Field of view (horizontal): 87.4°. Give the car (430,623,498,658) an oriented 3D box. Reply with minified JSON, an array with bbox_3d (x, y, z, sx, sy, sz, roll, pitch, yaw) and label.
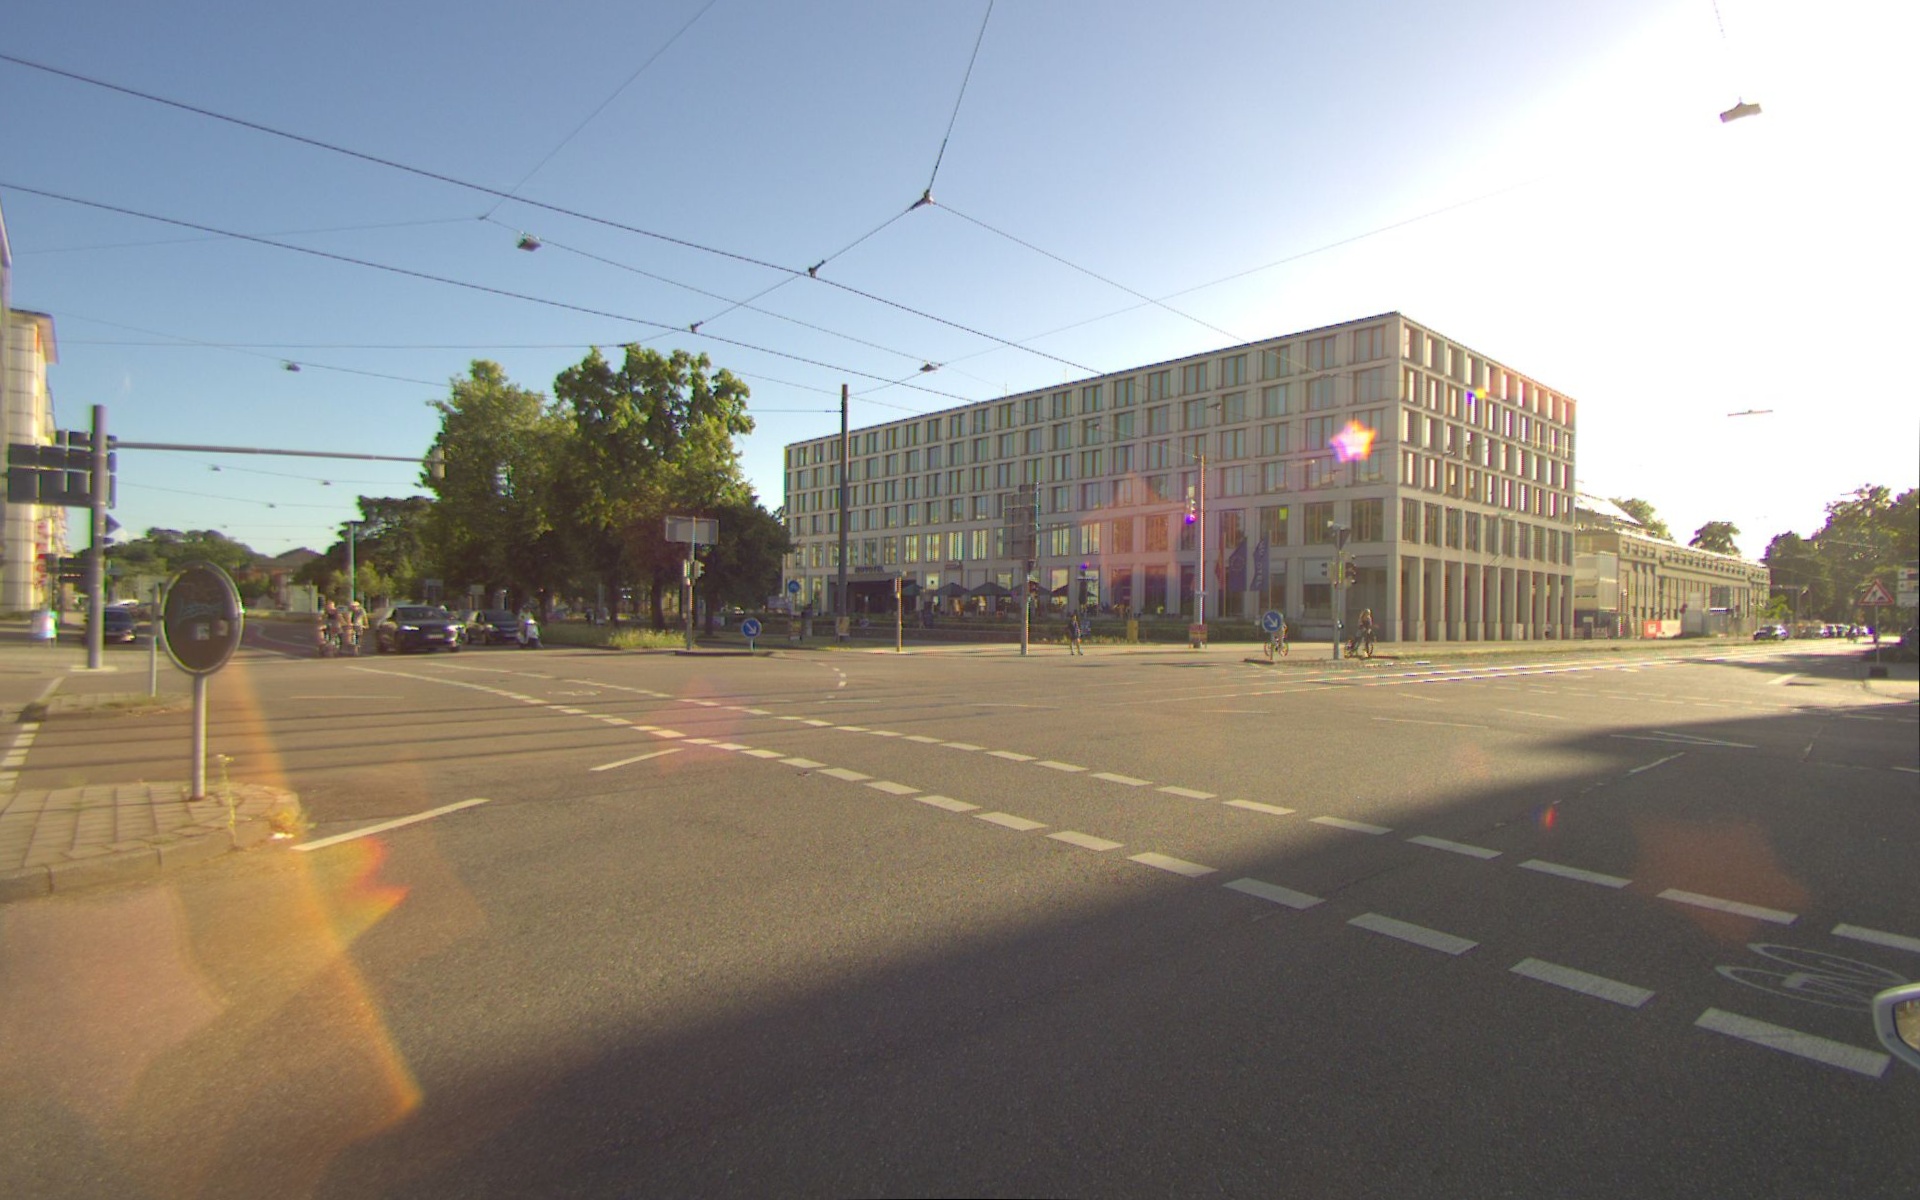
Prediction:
[{"bbox_3d":[-24.765,1.973,50.079,1.984,1.594,4.495,1,-1,-41],"label":"car"}]

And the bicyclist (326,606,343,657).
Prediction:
[{"bbox_3d":[-20.071,1.008,32.229,0.356,1.597,0.529,1,-1,-41],"label":"bicyclist"}]

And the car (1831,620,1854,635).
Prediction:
[{"bbox_3d":[117.458,3.637,133.679,3.973,1.907,1.974,2,-1,-44],"label":"car"}]

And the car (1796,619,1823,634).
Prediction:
[{"bbox_3d":[96.097,2.973,113.614,3.973,1.661,1.974,2,-1,-44],"label":"car"}]

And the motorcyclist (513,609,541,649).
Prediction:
[{"bbox_3d":[-16.362,1.090,37.972,0.722,1.465,0.607,0,-1,22],"label":"motorcyclist"}]

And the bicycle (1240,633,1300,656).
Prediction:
[{"bbox_3d":[12.181,1.752,39.464,2.303,0.862,0.838,1,-1,-24],"label":"bicycle"}]

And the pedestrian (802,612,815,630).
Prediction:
[{"bbox_3d":[-13.489,1.860,89.447,0.779,1.546,0.753,1,-1,-41],"label":"pedestrian"}]

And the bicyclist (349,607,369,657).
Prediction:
[{"bbox_3d":[-19.642,1.046,32.808,0.450,1.597,0.529,1,-1,-41],"label":"bicyclist"}]

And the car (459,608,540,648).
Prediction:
[{"bbox_3d":[-19.657,1.169,42.821,1.984,1.594,4.495,1,-1,-41],"label":"car"}]

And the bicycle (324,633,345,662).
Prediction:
[{"bbox_3d":[-20.079,1.503,32.224,0.349,0.885,1.368,1,-1,-41],"label":"bicycle"}]

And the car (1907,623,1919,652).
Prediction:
[{"bbox_3d":[49.340,1.901,51.021,3.973,1.447,1.681,2,-1,-44],"label":"car"}]

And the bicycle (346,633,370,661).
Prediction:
[{"bbox_3d":[-19.691,1.523,32.849,0.449,0.885,1.368,1,-1,-41],"label":"bicycle"}]

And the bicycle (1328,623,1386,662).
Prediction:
[{"bbox_3d":[13.209,1.414,33.497,0.831,1.247,2.010,1,-1,-12],"label":"bicycle"}]

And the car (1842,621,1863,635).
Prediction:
[{"bbox_3d":[126.401,4.018,142.225,3.973,1.907,1.974,2,-1,-44],"label":"car"}]

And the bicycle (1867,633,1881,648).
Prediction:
[{"bbox_3d":[72.863,3.196,80.034,1.795,1.171,0.655,2,-1,-42],"label":"bicycle"}]

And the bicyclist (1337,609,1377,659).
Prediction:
[{"bbox_3d":[13.218,1.121,33.459,0.837,1.640,0.971,1,-1,-12],"label":"bicyclist"}]

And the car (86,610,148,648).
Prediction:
[{"bbox_3d":[-37.338,1.272,44.495,1.984,1.594,4.495,1,-1,-41],"label":"car"}]

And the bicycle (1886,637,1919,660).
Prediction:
[{"bbox_3d":[38.004,1.928,40.048,1.582,0.901,0.766,0,-1,41],"label":"bicycle"}]

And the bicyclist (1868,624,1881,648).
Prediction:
[{"bbox_3d":[72.945,2.890,80.111,0.777,1.877,0.658,1,-1,-42],"label":"bicyclist"}]

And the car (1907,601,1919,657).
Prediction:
[{"bbox_3d":[54.007,1.598,55.248,5.055,2.991,2.566,2,-1,-44],"label":"car"}]

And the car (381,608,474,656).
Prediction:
[{"bbox_3d":[-18.812,1.084,35.376,1.984,1.594,4.495,0,-1,-41],"label":"car"}]

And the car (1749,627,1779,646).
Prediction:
[{"bbox_3d":[83.704,3.780,104.613,3.973,1.996,1.974,2,-1,-44],"label":"car"}]

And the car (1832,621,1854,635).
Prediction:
[{"bbox_3d":[121.043,3.795,137.648,3.973,1.907,1.974,2,-1,-44],"label":"car"}]

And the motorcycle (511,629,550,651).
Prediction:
[{"bbox_3d":[-16.226,1.511,37.926,1.283,0.806,0.624,0,-1,22],"label":"motorcycle"}]

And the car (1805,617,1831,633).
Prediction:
[{"bbox_3d":[102.576,3.015,120.078,3.973,1.907,1.974,2,-1,-44],"label":"car"}]

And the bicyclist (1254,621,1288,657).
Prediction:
[{"bbox_3d":[12.216,1.513,39.481,0.959,1.380,0.822,1,-1,-24],"label":"bicyclist"}]

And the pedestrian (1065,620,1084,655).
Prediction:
[{"bbox_3d":[5.022,1.647,44.091,0.595,1.546,0.620,0,-1,44],"label":"pedestrian"}]
